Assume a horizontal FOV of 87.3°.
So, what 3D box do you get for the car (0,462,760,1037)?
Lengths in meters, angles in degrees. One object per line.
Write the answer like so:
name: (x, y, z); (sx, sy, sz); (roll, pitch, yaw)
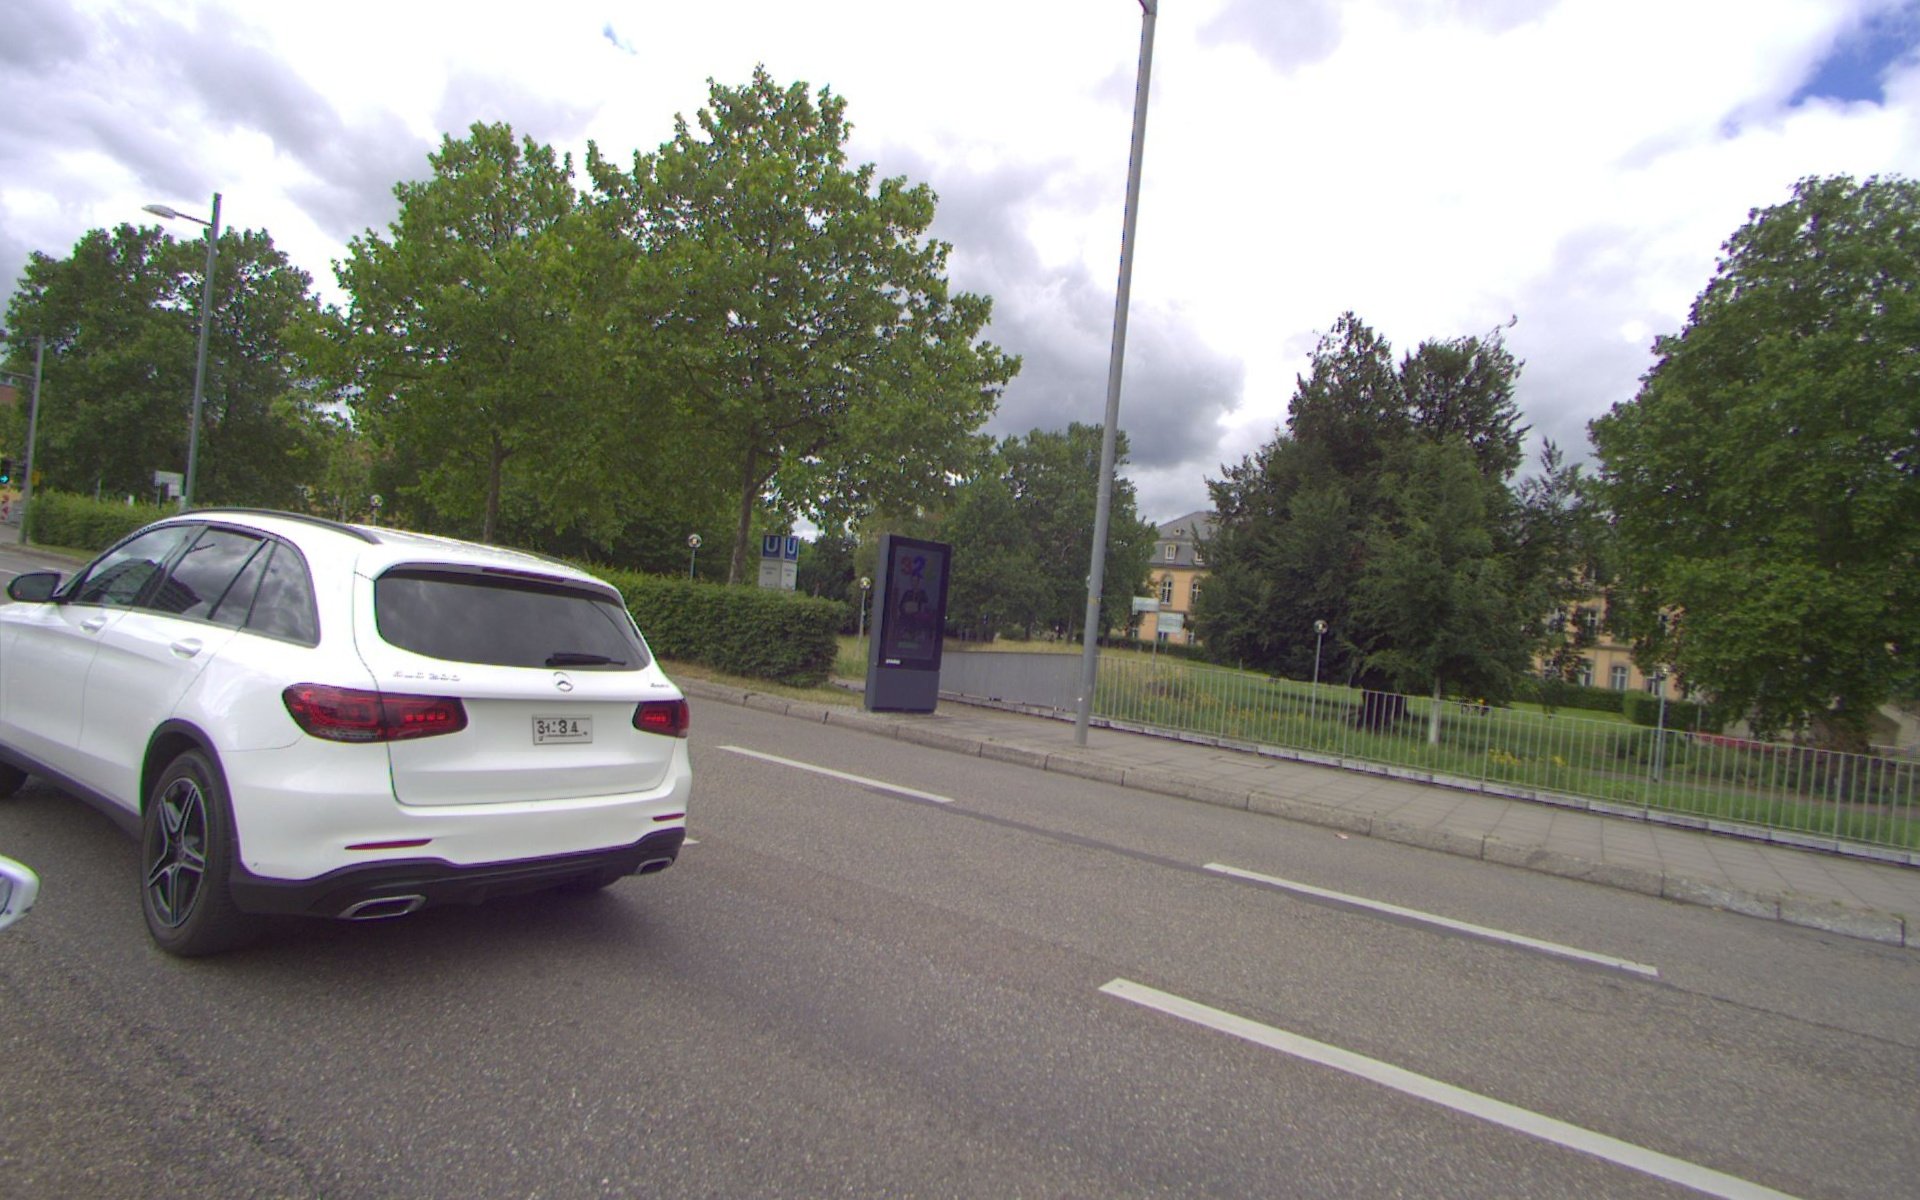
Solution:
car: (-3.279, 0.366, 4.993); (4.308, 1.666, 1.821); (7, -1, 34)
